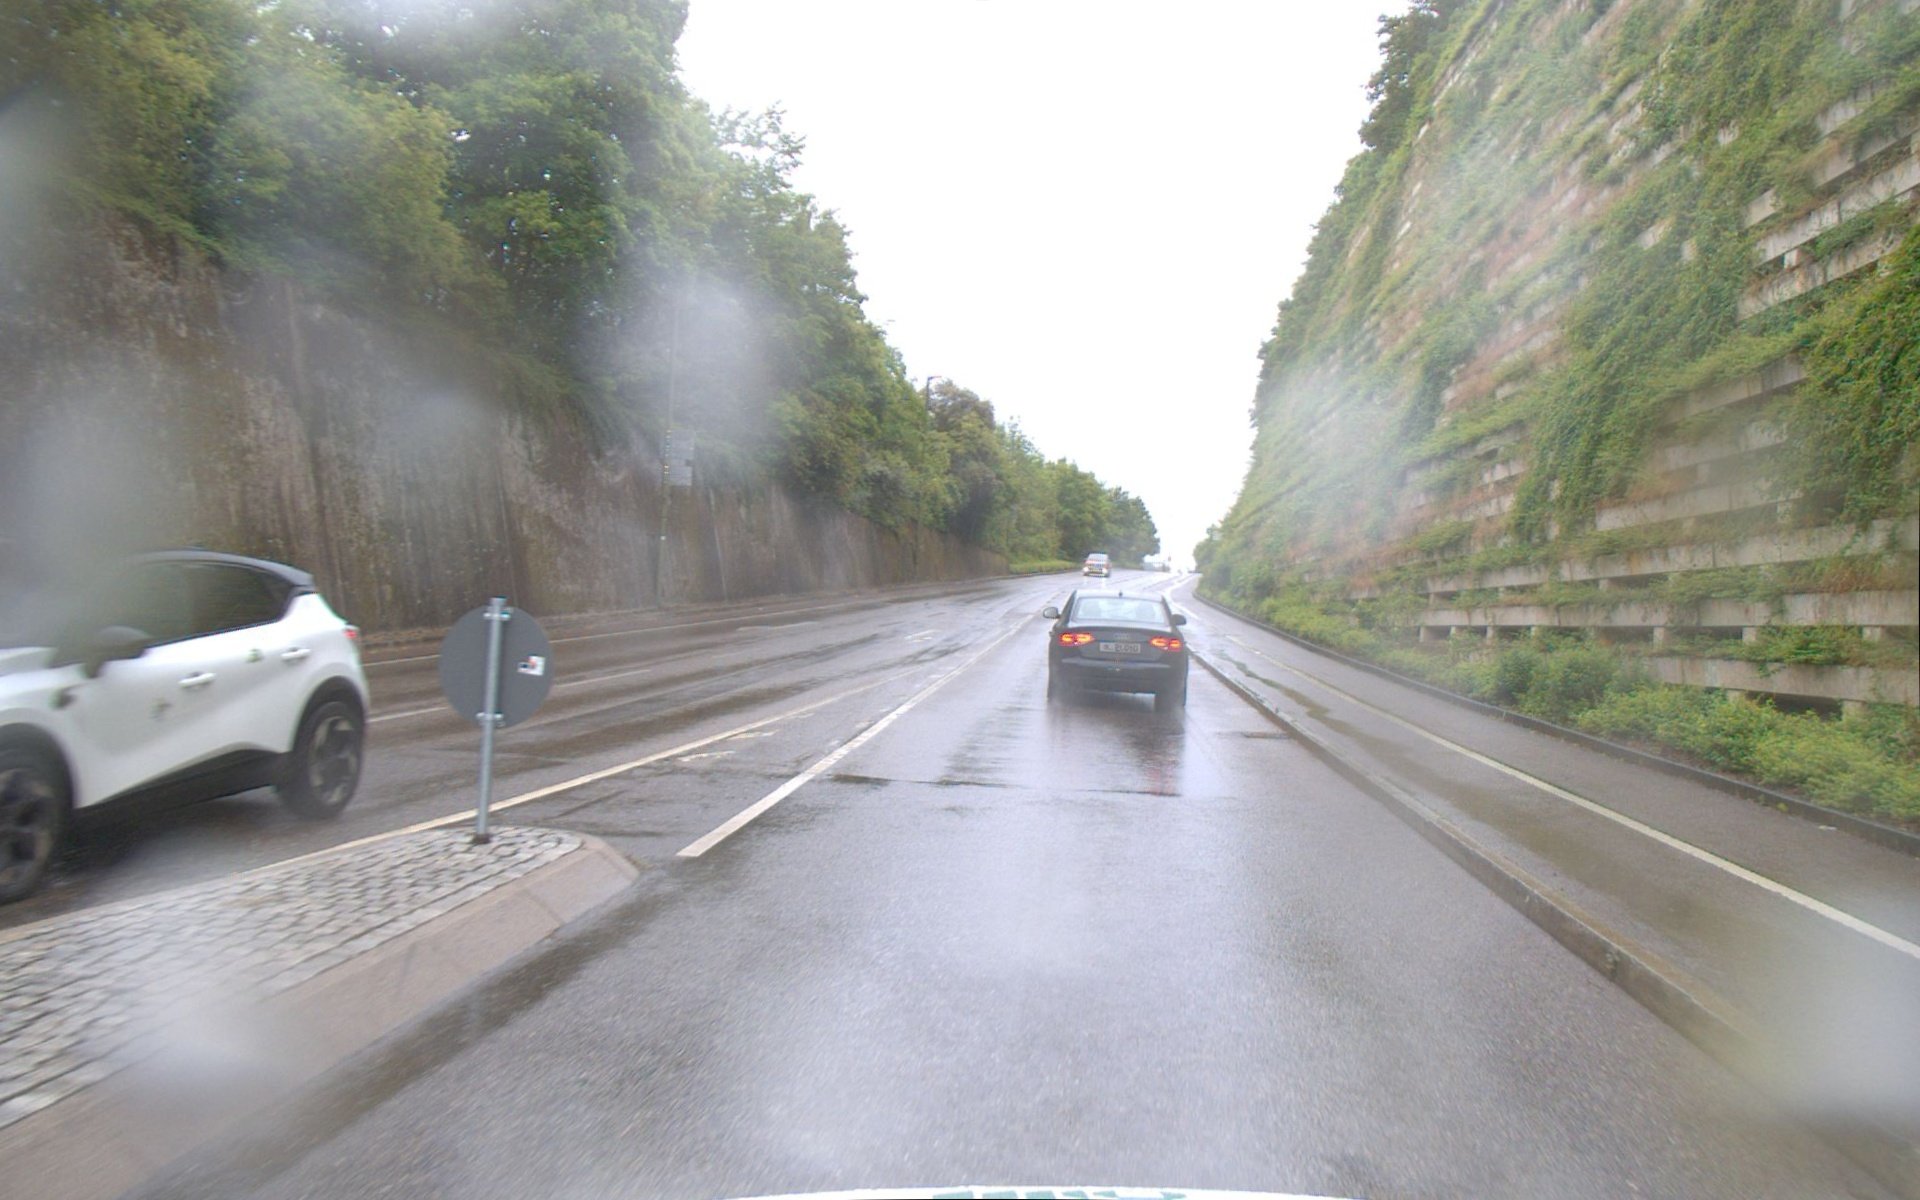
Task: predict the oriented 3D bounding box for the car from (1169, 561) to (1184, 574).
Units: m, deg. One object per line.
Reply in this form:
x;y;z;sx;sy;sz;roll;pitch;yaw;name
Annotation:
27.703;-4.135;211.402;1.825;1.473;4.382;4;3;7;car

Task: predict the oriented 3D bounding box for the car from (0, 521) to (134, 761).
-7.732;0.297;11.203;1.776;1.686;4.054;0;0;9;car

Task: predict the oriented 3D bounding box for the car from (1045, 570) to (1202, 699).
2.141;0.385;21.718;1.852;1.518;4.210;0;1;6;car

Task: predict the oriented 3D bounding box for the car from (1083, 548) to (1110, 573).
9.748;-2.811;117.706;1.696;1.646;4.003;3;1;7;car

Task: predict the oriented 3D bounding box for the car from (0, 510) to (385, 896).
-4.770;0.420;8.395;1.829;1.629;4.004;0;1;9;car
